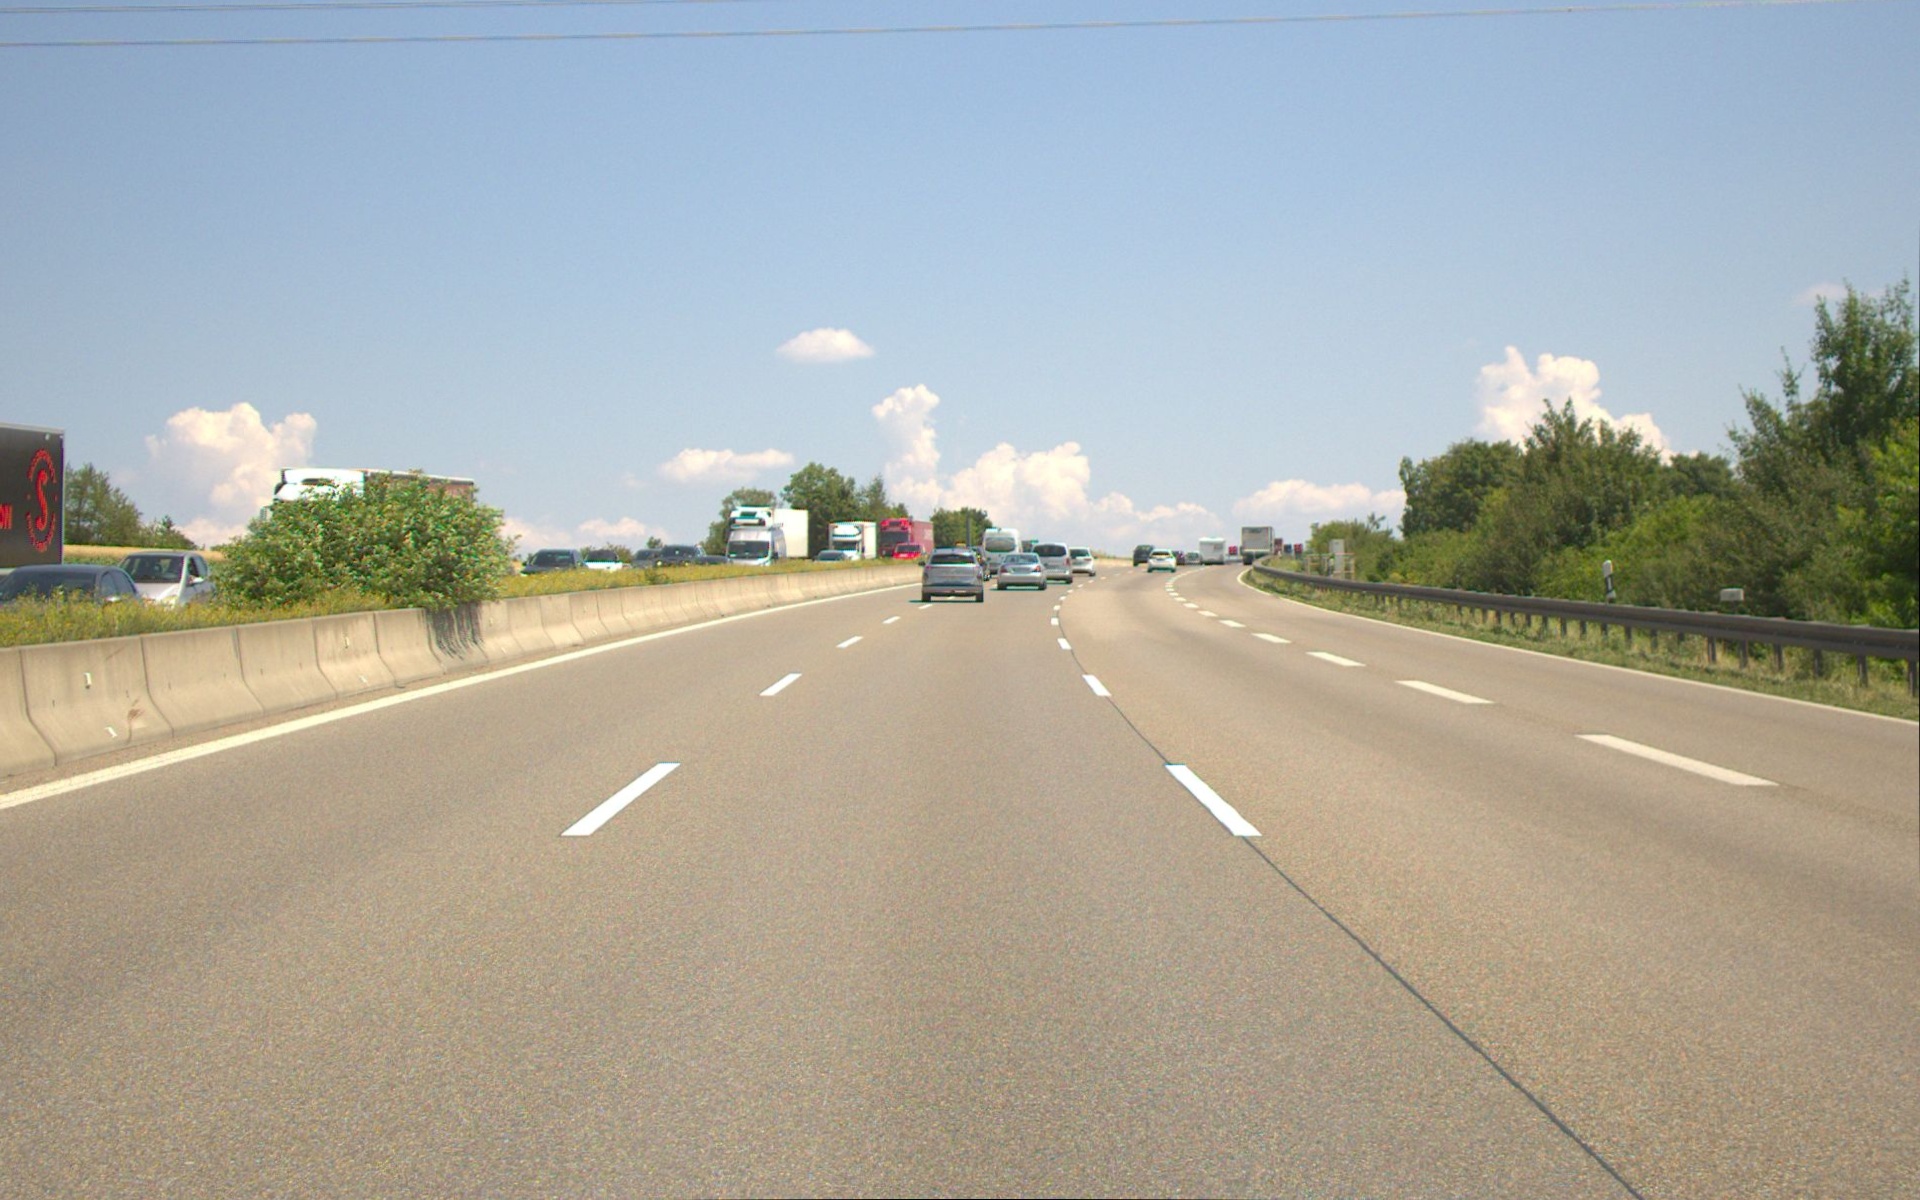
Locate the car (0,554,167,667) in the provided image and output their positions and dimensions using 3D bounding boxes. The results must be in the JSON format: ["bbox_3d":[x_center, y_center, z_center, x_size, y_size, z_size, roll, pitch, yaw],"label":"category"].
[{"bbox_3d":[-12.244,0.115,47.136,1.786,1.463,4.000,1,1,0],"label":"car"}]

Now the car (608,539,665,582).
[{"bbox_3d":[-13.918,-1.690,148.033,1.993,1.842,4.000,0,0,1],"label":"car"}]

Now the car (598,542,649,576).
[{"bbox_3d":[-16.446,-2.011,168.268,1.993,1.612,4.000,0,1,2],"label":"car"}]

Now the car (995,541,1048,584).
[{"bbox_3d":[2.359,-1.425,131.996,1.993,1.579,4.000,0,0,1],"label":"car"}]

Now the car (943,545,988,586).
[{"bbox_3d":[0.282,-1.654,162.858,1.847,1.854,4.205,1,2,3],"label":"car"}]

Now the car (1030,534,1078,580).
[{"bbox_3d":[4.257,-1.931,155.252,1.994,1.897,3.999,0,-2,4],"label":"car"}]

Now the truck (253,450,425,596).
[{"bbox_3d":[-18.622,-2.294,103.834,2.887,4.157,10.622,1,1,2],"label":"truck"}]

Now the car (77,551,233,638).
[{"bbox_3d":[-15.176,-0.132,65.007,1.993,1.573,4.000,1,1,0],"label":"car"}]

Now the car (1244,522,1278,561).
[{"bbox_3d":[18.103,-3.537,206.981,1.994,2.293,6.262,0,1,4],"label":"car"}]

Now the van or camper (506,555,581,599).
[{"bbox_3d":[-13.987,-0.790,115.619,1.993,1.448,4.000,0,1,1],"label":"van or camper"}]

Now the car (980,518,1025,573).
[{"bbox_3d":[2.241,-2.811,179.253,2.180,2.616,4.671,1,-2,3],"label":"car"}]

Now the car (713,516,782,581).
[{"bbox_3d":[-8.914,-2.165,144.805,2.405,2.670,6.037,1,1,1],"label":"car"}]

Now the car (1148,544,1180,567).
[{"bbox_3d":[12.947,-2.826,218.211,1.902,1.437,3.999,1,1,5],"label":"car"}]

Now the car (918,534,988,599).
[{"bbox_3d":[-0.216,-0.971,102.452,1.993,1.744,4.000,1,-2,-1],"label":"car"}]

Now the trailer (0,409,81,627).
[{"bbox_3d":[-19.518,-1.540,63.121,2.793,4.091,14.007,1,1,2],"label":"trailer"}]

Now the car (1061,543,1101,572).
[{"bbox_3d":[6.759,-2.380,192.198,1.994,1.546,4.000,2,1,4],"label":"car"}]
